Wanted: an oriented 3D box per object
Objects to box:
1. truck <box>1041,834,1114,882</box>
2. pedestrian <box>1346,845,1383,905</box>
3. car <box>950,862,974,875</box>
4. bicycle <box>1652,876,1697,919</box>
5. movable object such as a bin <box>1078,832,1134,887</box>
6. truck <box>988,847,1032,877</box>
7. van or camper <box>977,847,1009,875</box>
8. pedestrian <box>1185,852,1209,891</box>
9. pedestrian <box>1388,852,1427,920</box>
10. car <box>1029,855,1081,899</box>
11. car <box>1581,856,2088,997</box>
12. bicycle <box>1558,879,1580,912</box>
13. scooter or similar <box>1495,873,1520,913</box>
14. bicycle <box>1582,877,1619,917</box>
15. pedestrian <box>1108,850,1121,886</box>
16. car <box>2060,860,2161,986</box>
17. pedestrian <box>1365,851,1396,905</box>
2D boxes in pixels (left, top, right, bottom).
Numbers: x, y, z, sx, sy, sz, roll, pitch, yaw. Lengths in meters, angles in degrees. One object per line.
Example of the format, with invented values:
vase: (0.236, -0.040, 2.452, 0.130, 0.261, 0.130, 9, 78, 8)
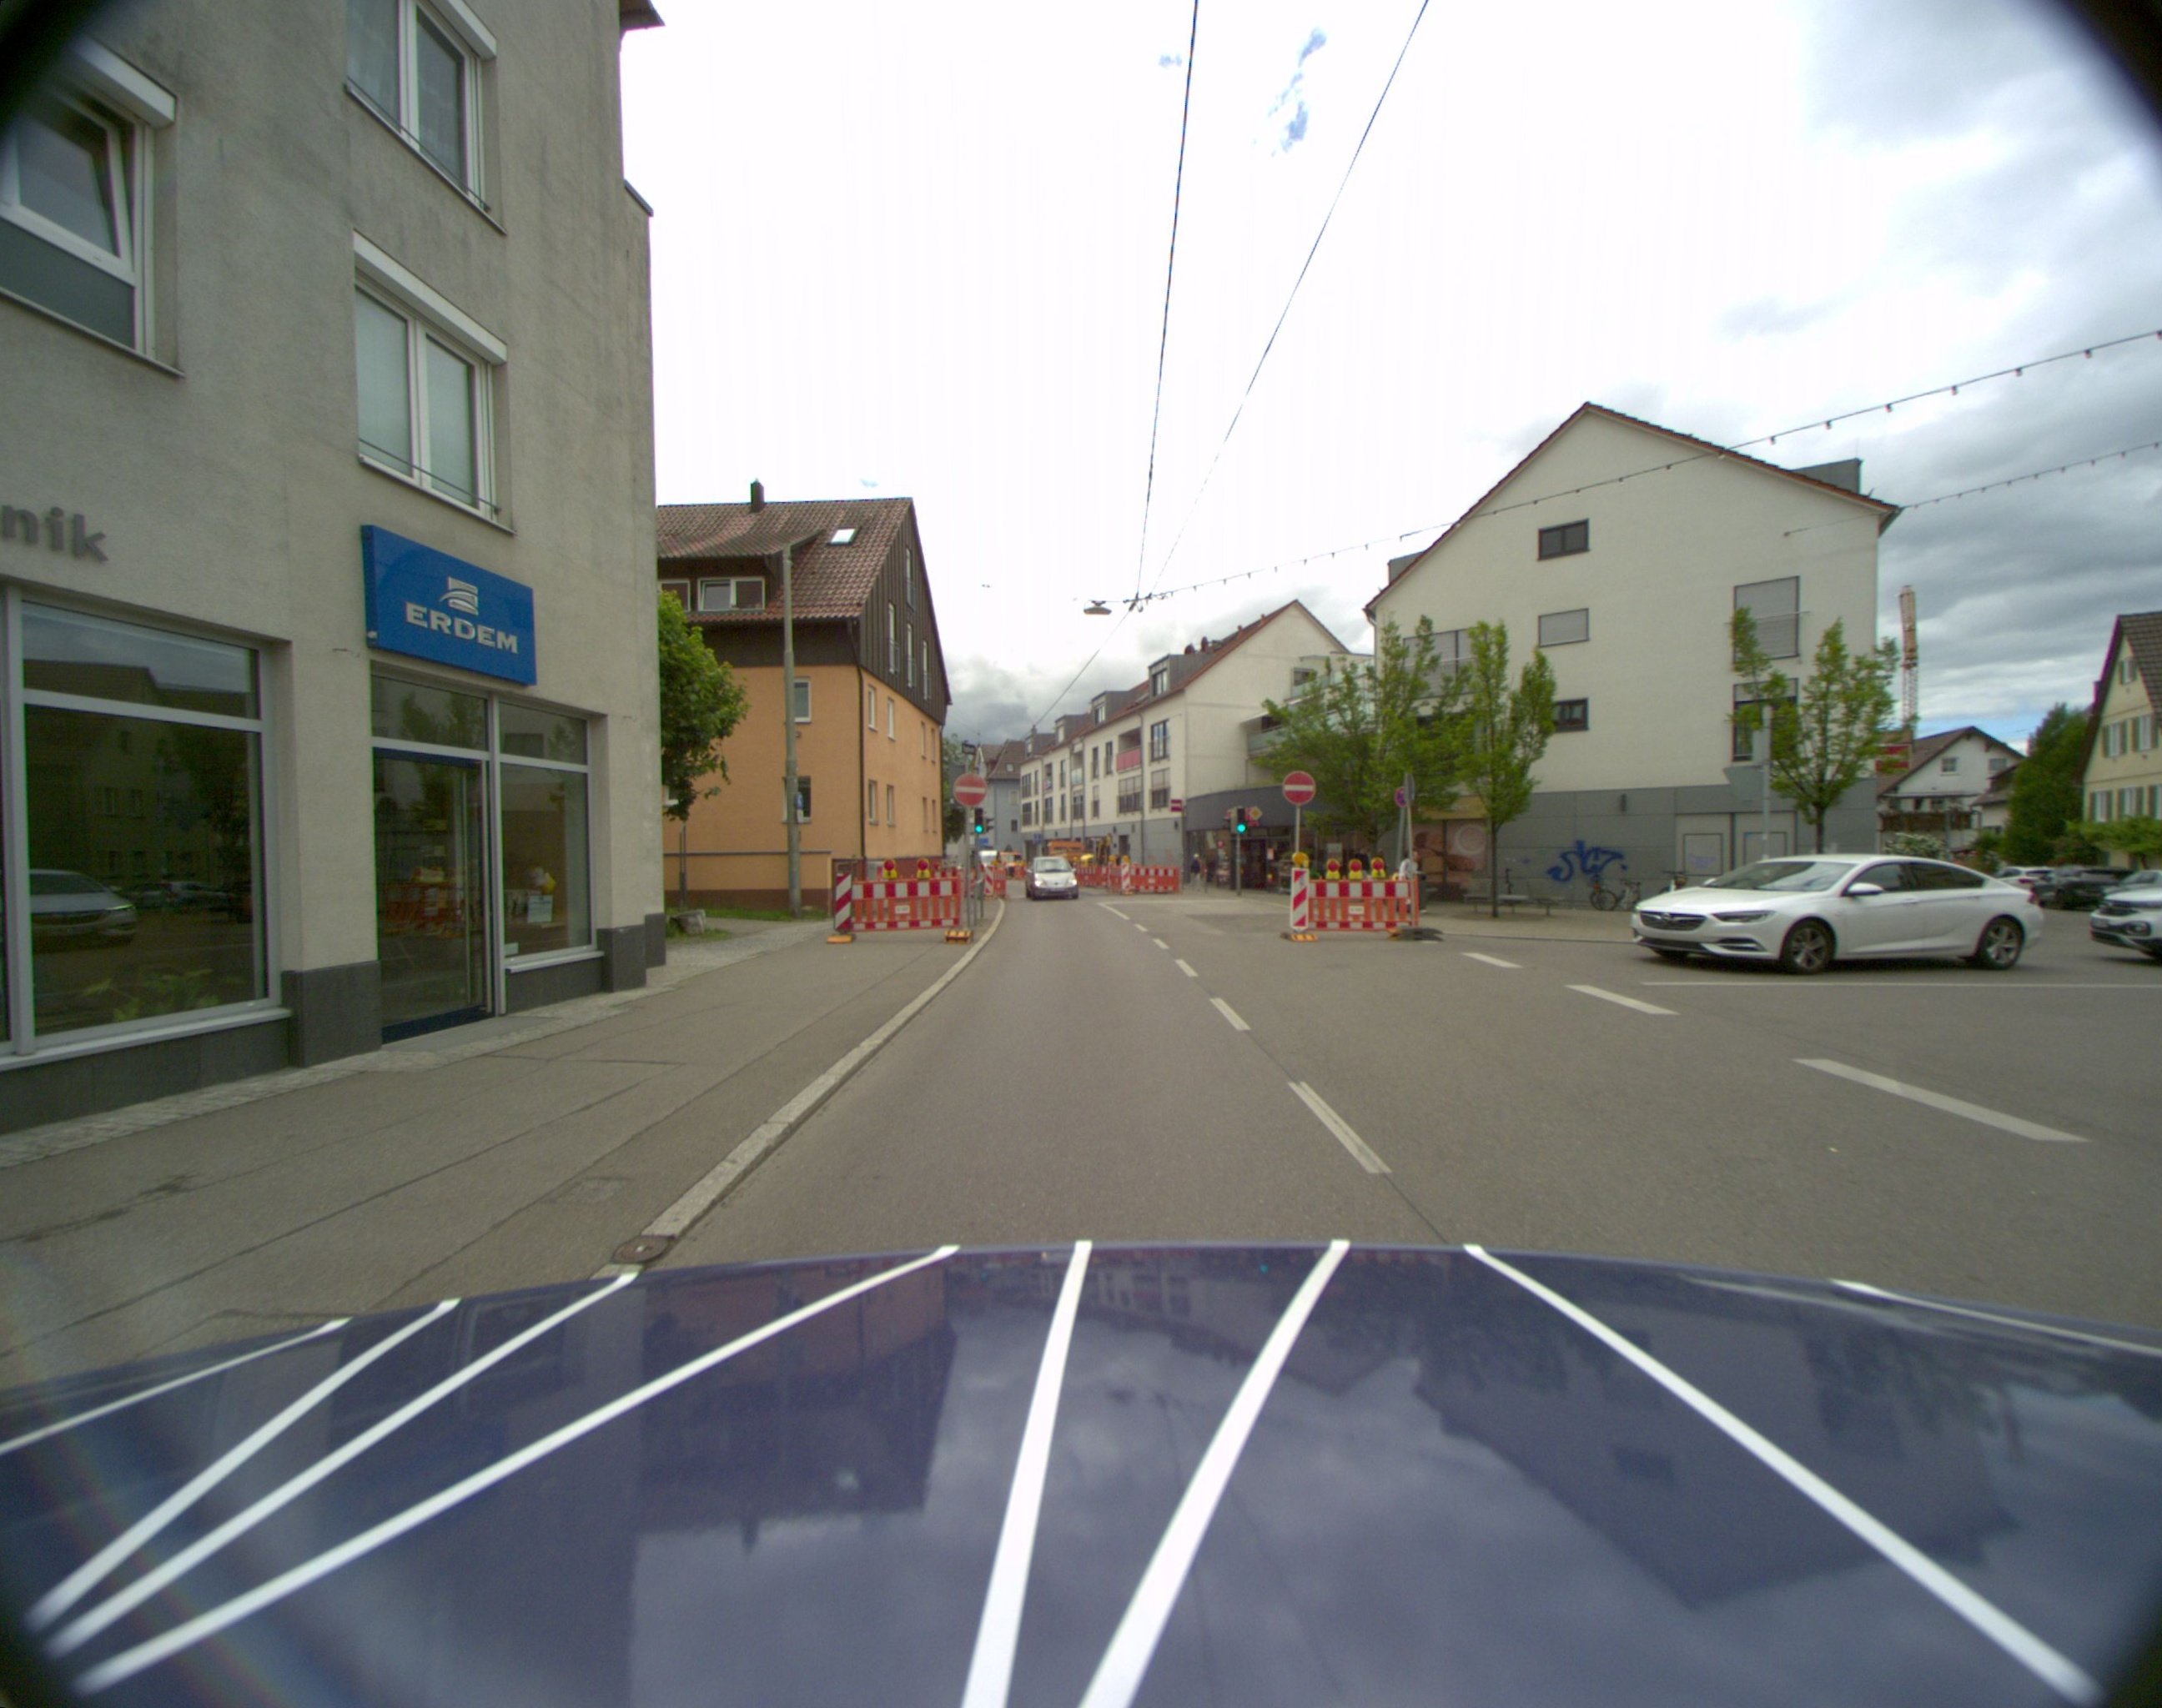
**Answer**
truck: (-0.365, 0.266, 46.424, 2.742, 2.708, 6.839, 0, -1, -15)
pedestrian: (9.306, 0.673, 24.922, 0.818, 1.914, 0.782, -1, 0, -37)
car: (-13.392, 1.595, 85.424, 1.805, 1.403, 3.993, 0, -1, -22)
bicycle: (15.925, 1.136, 20.424, 0.809, 1.067, 1.965, 0, -1, 34)
movable object such as a bin: (1.257, 0.250, 40.238, 1.846, 2.747, 4.499, 0, 1, -14)
truck: (-6.177, 0.754, 65.300, 2.423, 2.451, 6.298, 0, -1, -19)
van or camper: (-8.777, 0.732, 75.495, 2.328, 2.591, 6.201, 0, -1, -14)
pedestrian: (5.211, 0.770, 34.041, 0.835, 1.702, 0.815, -1, 0, -9)
pedestrian: (7.785, 0.738, 18.168, 0.682, 1.583, 0.880, 0, 0, 10)
car: (-1.021, 0.867, 29.363, 1.858, 1.547, 4.352, 0, -1, -3)
car: (9.752, 0.833, 10.093, 4.918, 1.468, 2.248, -2, 0, -8)
bicycle: (14.085, 1.207, 21.943, 0.495, 0.877, 1.634, 0, -5, 31)
scooter or similar: (12.846, 1.151, 22.862, 0.596, 1.116, 1.536, 0, 0, 32)
bicycle: (14.554, 1.189, 21.334, 0.749, 1.040, 2.156, 0, -2, 31)
pedestrian: (1.653, 0.696, 37.082, 0.539, 1.733, 0.443, -1, 0, -12)
car: (16.078, 0.835, 9.137, 4.905, 1.548, 2.025, -2, 0, 37)
pedestrian: (10.078, 0.790, 25.571, 0.695, 1.780, 0.716, -1, 0, -41)
